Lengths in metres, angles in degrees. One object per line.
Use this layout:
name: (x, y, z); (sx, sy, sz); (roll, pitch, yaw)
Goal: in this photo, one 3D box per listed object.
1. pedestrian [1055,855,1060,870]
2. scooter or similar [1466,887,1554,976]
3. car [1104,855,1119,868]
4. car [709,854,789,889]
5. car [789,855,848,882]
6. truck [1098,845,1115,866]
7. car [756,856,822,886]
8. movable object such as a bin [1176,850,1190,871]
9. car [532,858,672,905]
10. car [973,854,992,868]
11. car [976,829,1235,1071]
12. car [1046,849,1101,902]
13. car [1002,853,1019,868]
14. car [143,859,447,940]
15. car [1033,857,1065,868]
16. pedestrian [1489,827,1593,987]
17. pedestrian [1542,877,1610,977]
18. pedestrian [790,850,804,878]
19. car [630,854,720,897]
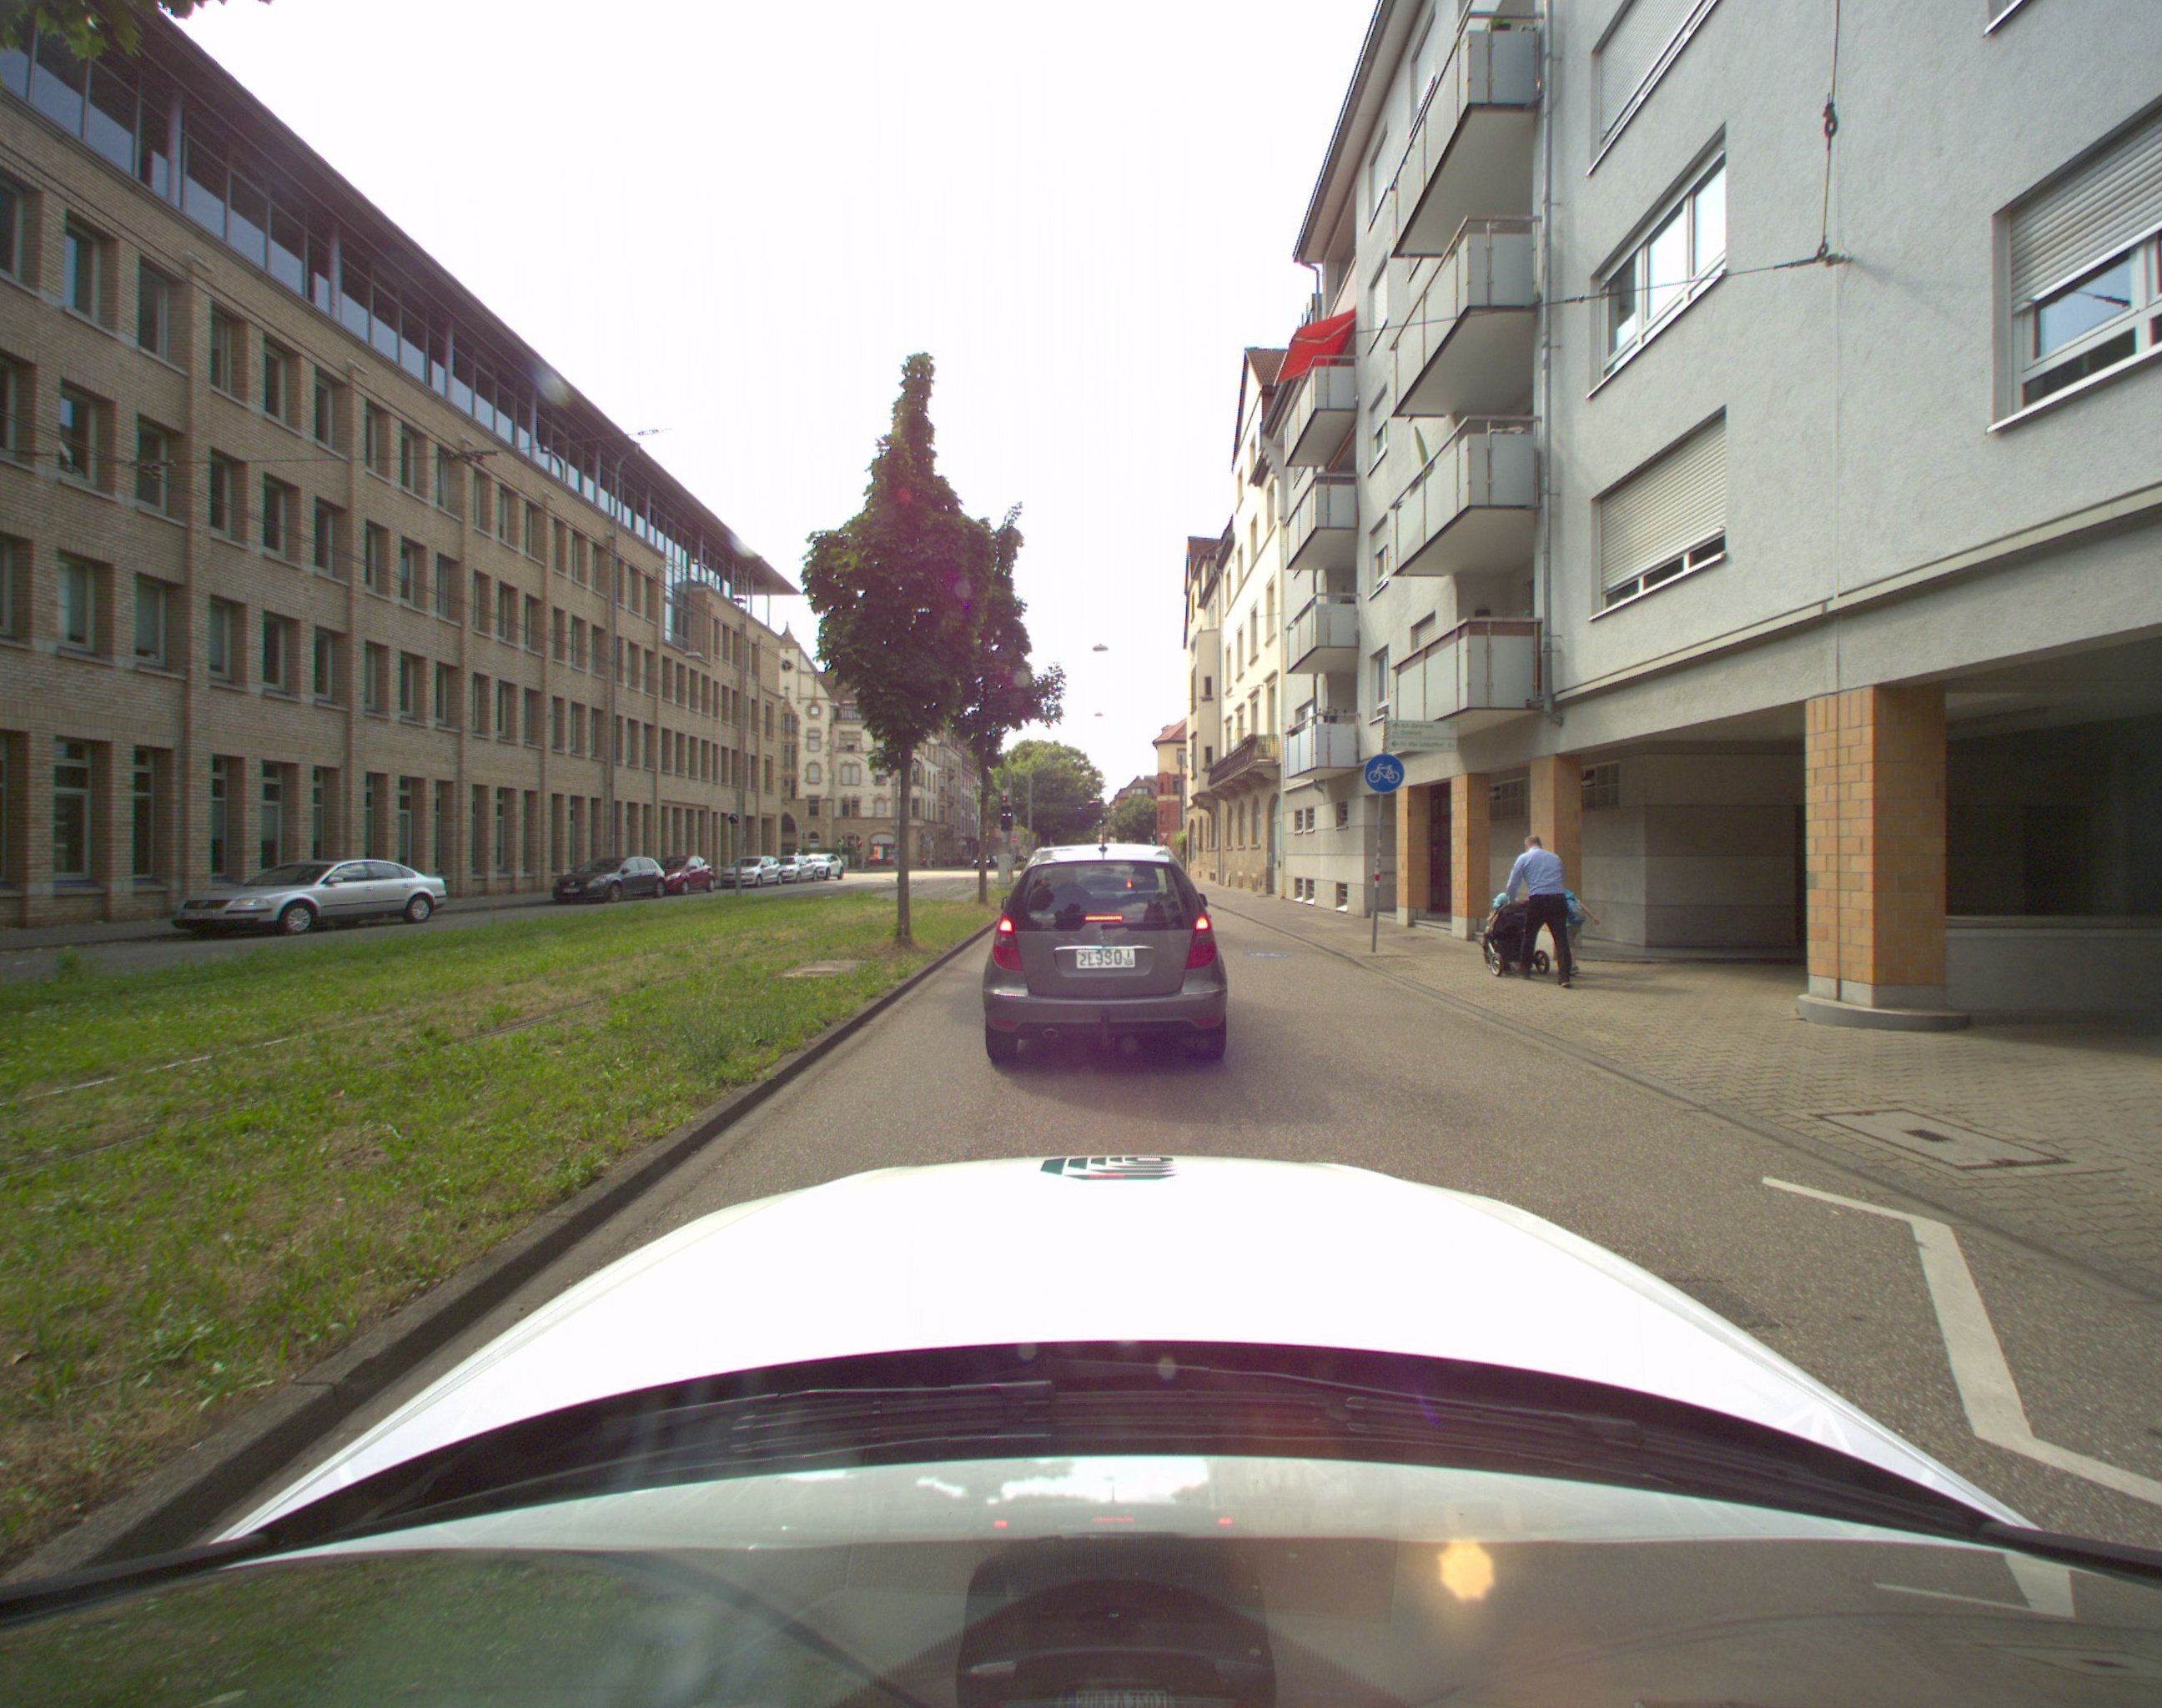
pedestrian: (-2.691, 0.923, 92.506); (0.493, 1.725, 0.652); (0, 0, -9)
scooter or similar: (5.398, 0.957, 10.298); (0.590, 1.002, 0.906); (-4, 0, 2)
car: (3.970, 0.967, 104.080); (1.744, 1.633, 3.504); (0, 0, 5)
car: (-15.280, 0.765, 37.730); (1.844, 1.530, 4.212); (0, 0, 2)
car: (-15.232, 0.801, 47.539); (1.925, 1.535, 4.260); (0, 0, 2)
truck: (3.688, 0.196, 117.065); (2.113, 2.970, 4.005); (-1, 0, 5)
car: (-15.336, 0.850, 42.983); (1.925, 1.530, 4.016); (0, 0, 2)
movable object such as a bin: (7.459, 0.484, 59.595); (0.714, 1.472, 0.980); (-1, -1, -8)
car: (-15.405, 0.837, 26.506); (1.925, 1.396, 4.241); (0, 0, 2)
car: (-11.633, 0.841, 96.167); (1.990, 1.618, 3.994); (-1, 0, -4)
car: (0.223, 0.653, 7.293); (1.716, 1.605, 3.678); (-1, 0, 2)
car: (-0.205, 0.699, 28.266); (1.716, 1.706, 3.678); (-1, 0, 2)
car: (-8.456, 0.775, 97.632); (1.990, 1.728, 3.994); (-1, 0, -4)
car: (-15.553, 0.810, 16.550); (1.708, 1.396, 4.487); (0, 0, 2)
car: (-3.934, 1.024, 98.872); (1.984, 1.339, 3.954); (0, 0, -38)
pedestrian: (5.313, 0.586, 9.449); (0.618, 1.738, 0.877); (-4, 0, 2)
pedestrian: (5.970, 0.862, 9.833); (0.454, 1.135, 0.494); (-4, 0, 1)
pedestrian: (-18.383, 0.619, 52.751); (0.763, 1.795, 0.952); (0, -1, -24)
car: (-15.444, 0.775, 31.189); (1.577, 1.530, 3.551); (0, 0, 2)
